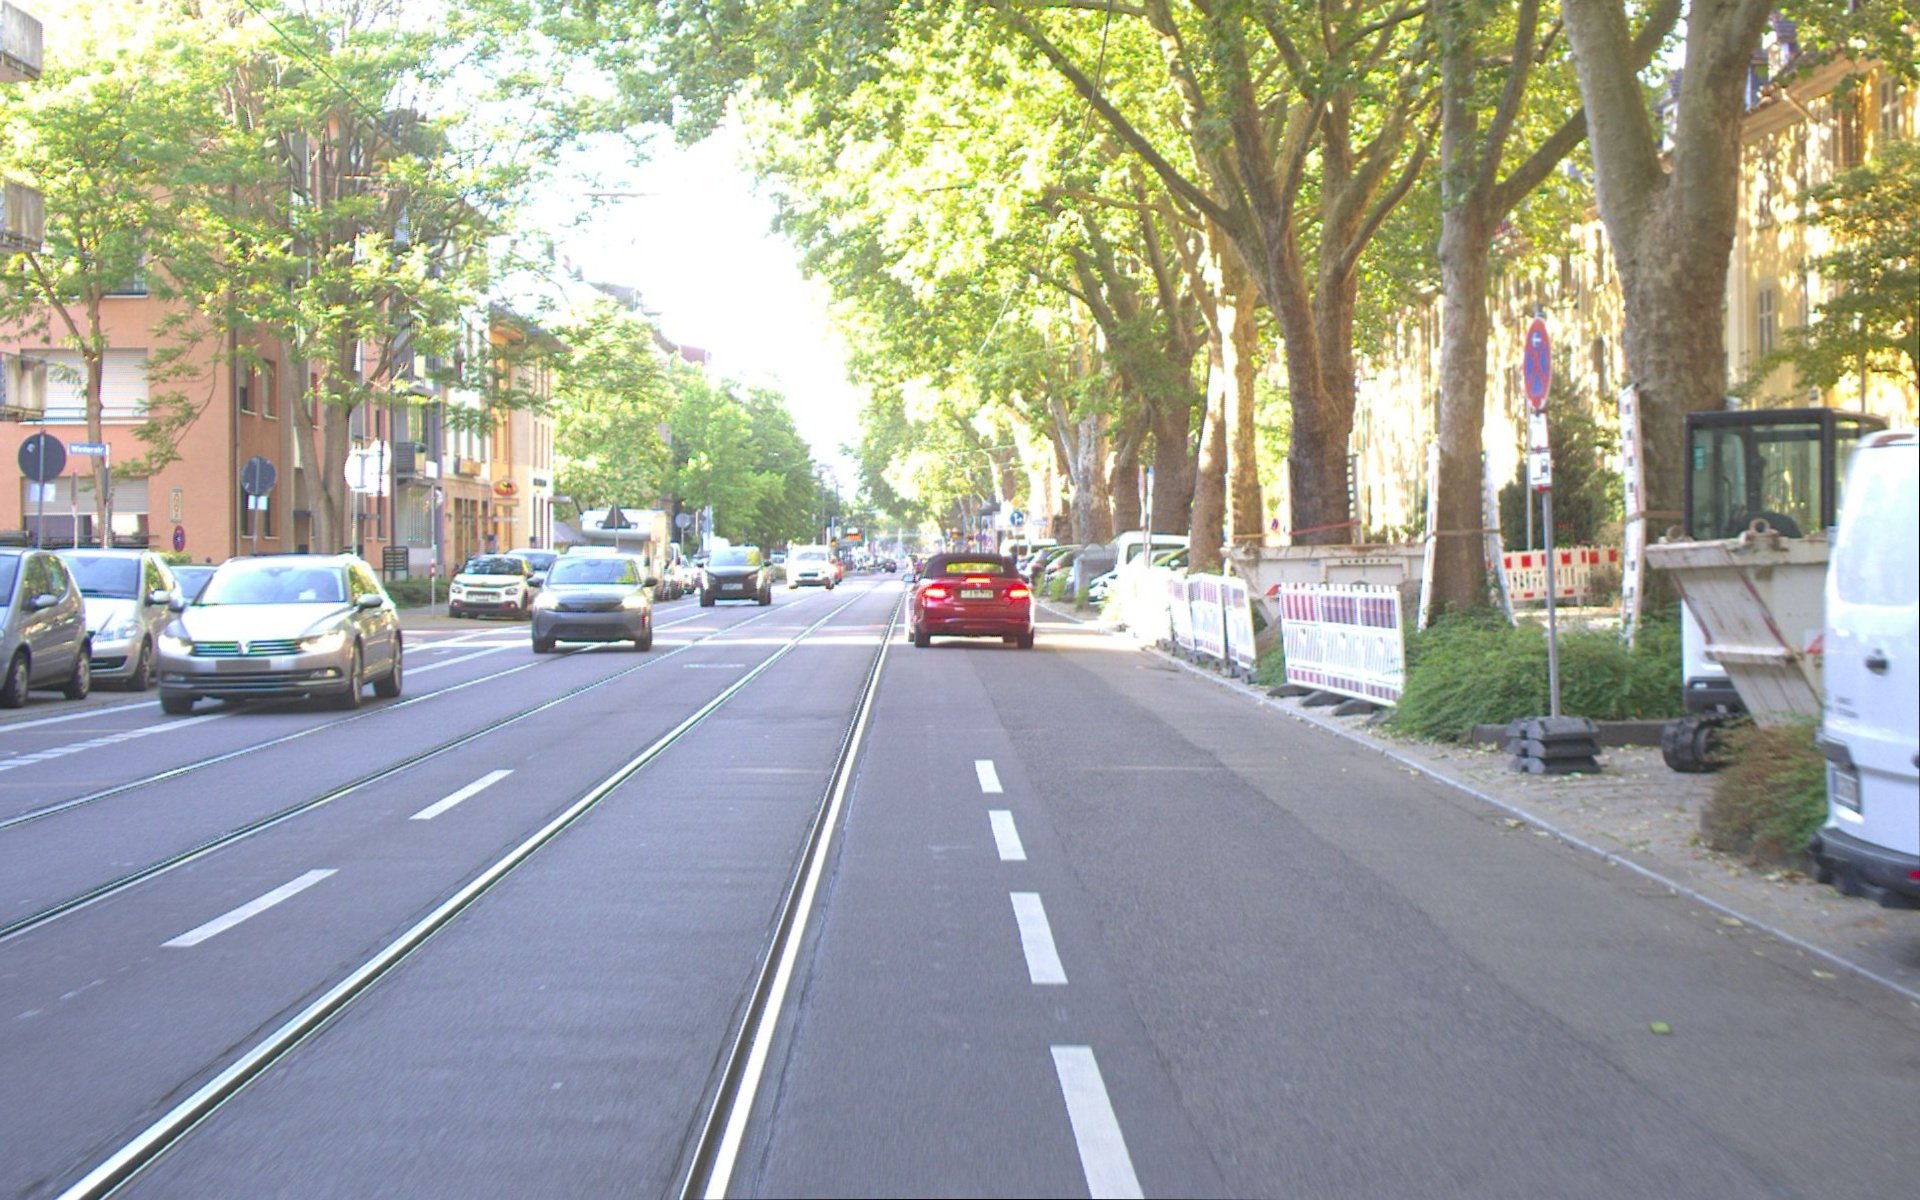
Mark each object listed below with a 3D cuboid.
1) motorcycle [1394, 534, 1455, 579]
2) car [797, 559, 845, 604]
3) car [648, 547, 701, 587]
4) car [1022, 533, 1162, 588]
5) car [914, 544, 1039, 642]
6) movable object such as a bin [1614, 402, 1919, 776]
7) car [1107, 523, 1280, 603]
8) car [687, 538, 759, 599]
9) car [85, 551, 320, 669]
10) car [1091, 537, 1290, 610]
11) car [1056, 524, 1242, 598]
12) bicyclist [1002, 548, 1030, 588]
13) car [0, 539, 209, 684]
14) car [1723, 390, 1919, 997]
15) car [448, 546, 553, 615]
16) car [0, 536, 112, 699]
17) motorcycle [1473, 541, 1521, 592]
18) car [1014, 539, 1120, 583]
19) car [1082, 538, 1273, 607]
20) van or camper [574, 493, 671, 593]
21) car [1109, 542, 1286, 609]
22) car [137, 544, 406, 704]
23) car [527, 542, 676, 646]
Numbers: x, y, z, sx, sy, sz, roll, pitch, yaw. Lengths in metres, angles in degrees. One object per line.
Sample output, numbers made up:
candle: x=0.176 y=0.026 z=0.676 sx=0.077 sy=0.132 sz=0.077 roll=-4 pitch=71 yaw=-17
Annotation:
motorcycle: x=14.885 y=-1.395 z=110.208 sx=1.803 sy=1.356 sz=0.622 roll=-3 pitch=1 yaw=-3
car: x=-5.822 y=-0.779 z=144.808 sx=1.891 sy=1.826 sz=4.896 roll=0 pitch=1 yaw=-1
car: x=-11.146 y=-1.299 z=134.327 sx=1.836 sy=1.463 sz=5.070 roll=3 pitch=1 yaw=-3
car: x=4.354 y=-1.292 z=112.648 sx=4.497 sy=1.596 sz=2.027 roll=-2 pitch=1 yaw=4
car: x=0.236 y=-0.137 z=51.838 sx=1.792 sy=1.384 sz=4.236 roll=1 pitch=1 yaw=0
movable object such as a bin: x=5.627 y=-0.099 z=22.588 sx=1.484 sy=2.261 sz=3.270 roll=0 pitch=1 yaw=33
car: x=5.276 y=-0.839 z=77.890 sx=3.844 sy=1.766 sz=1.916 roll=0 pitch=1 yaw=3
car: x=-6.593 y=-0.885 z=95.844 sx=1.853 sy=1.595 sz=4.464 roll=2 pitch=1 yaw=-3
car: x=-9.859 y=0.088 z=45.115 sx=1.952 sy=1.390 sz=4.863 roll=2 pitch=1 yaw=0
car: x=4.908 y=-0.572 z=73.610 sx=4.087 sy=1.516 sz=1.917 roll=0 pitch=0 yaw=-2
car: x=5.115 y=-1.068 z=93.382 sx=4.835 sy=1.956 sz=2.065 roll=0 pitch=1 yaw=-3
bicyclist: x=2.415 y=-1.395 z=148.837 sx=1.045 sy=1.700 sz=1.058 roll=-1 pitch=1 yaw=-10
car: x=-10.009 y=0.091 z=40.000 sx=1.819 sy=1.581 sz=4.006 roll=1 pitch=1 yaw=-3
car: x=5.419 y=0.255 z=12.424 sx=4.834 sy=2.006 sz=2.064 roll=-1 pitch=1 yaw=-1
car: x=-10.479 y=-0.462 z=78.618 sx=1.806 sy=1.473 sz=4.090 roll=2 pitch=1 yaw=0
car: x=-9.923 y=0.158 z=34.949 sx=1.626 sy=1.566 sz=3.781 roll=0 pitch=0 yaw=1
motorcycle: x=12.421 y=-0.792 z=79.560 sx=0.715 sy=1.149 sz=2.264 roll=-1 pitch=1 yaw=-1
car: x=4.117 y=-1.493 z=132.657 sx=3.923 sy=1.664 sz=1.961 roll=0 pitch=1 yaw=-2
car: x=5.046 y=-0.653 z=79.918 sx=4.371 sy=1.537 sz=1.801 roll=0 pitch=2 yaw=3
van or camper: x=-10.868 y=-1.824 z=111.105 sx=2.337 sy=3.030 sz=6.397 roll=3 pitch=1 yaw=0
car: x=5.239 y=-0.549 z=75.931 sx=3.844 sy=1.428 sz=1.851 roll=0 pitch=1 yaw=3
car: x=-6.573 y=0.203 z=33.295 sx=1.795 sy=1.441 sz=4.717 roll=0 pitch=0 yaw=-2
car: x=-5.335 y=-0.125 z=51.596 sx=1.795 sy=1.441 sz=4.053 roll=-1 pitch=1 yaw=0
